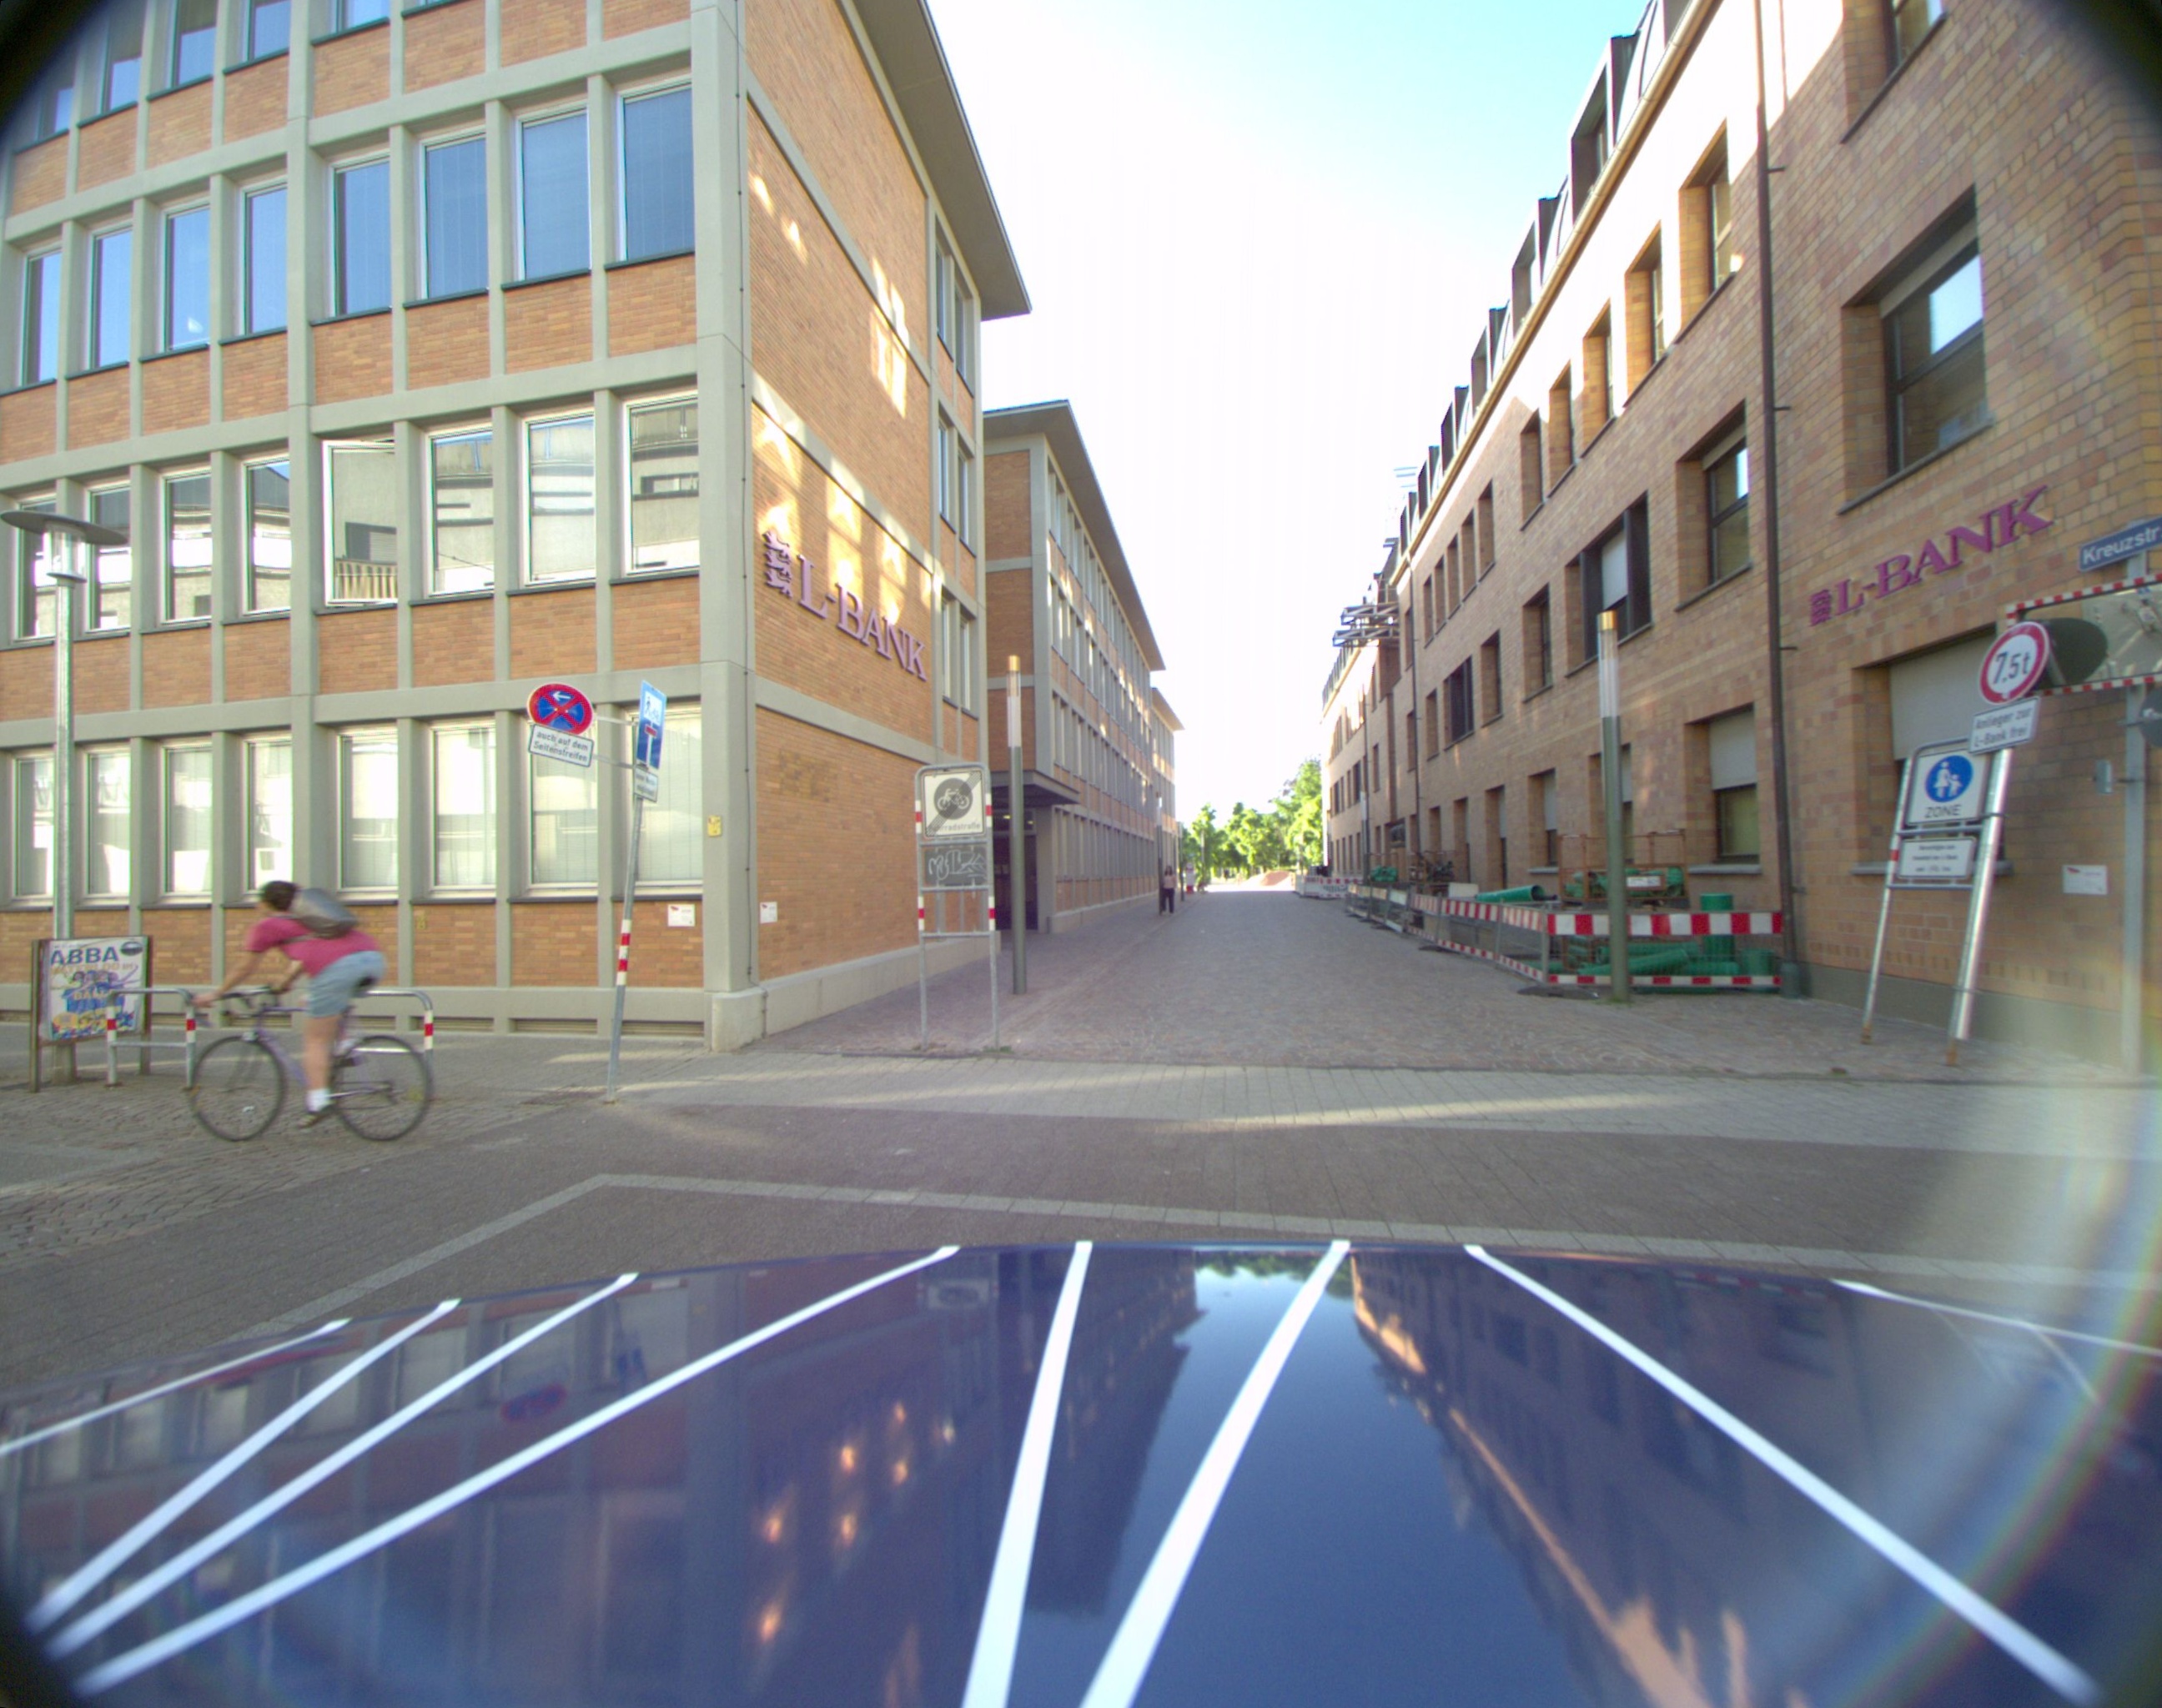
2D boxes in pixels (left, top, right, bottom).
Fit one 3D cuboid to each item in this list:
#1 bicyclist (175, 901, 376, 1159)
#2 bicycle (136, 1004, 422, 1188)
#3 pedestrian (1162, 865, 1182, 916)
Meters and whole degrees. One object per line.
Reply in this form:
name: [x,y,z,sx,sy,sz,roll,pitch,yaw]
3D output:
bicyclist: [-4.989,1.042,4.726,0.874,1.488,0.429,-1,-2,11]
bicycle: [-4.987,1.464,4.734,1.588,0.951,0.437,-1,0,11]
pedestrian: [3.222,1.295,26.948,0.637,1.774,0.653,-1,-3,12]
